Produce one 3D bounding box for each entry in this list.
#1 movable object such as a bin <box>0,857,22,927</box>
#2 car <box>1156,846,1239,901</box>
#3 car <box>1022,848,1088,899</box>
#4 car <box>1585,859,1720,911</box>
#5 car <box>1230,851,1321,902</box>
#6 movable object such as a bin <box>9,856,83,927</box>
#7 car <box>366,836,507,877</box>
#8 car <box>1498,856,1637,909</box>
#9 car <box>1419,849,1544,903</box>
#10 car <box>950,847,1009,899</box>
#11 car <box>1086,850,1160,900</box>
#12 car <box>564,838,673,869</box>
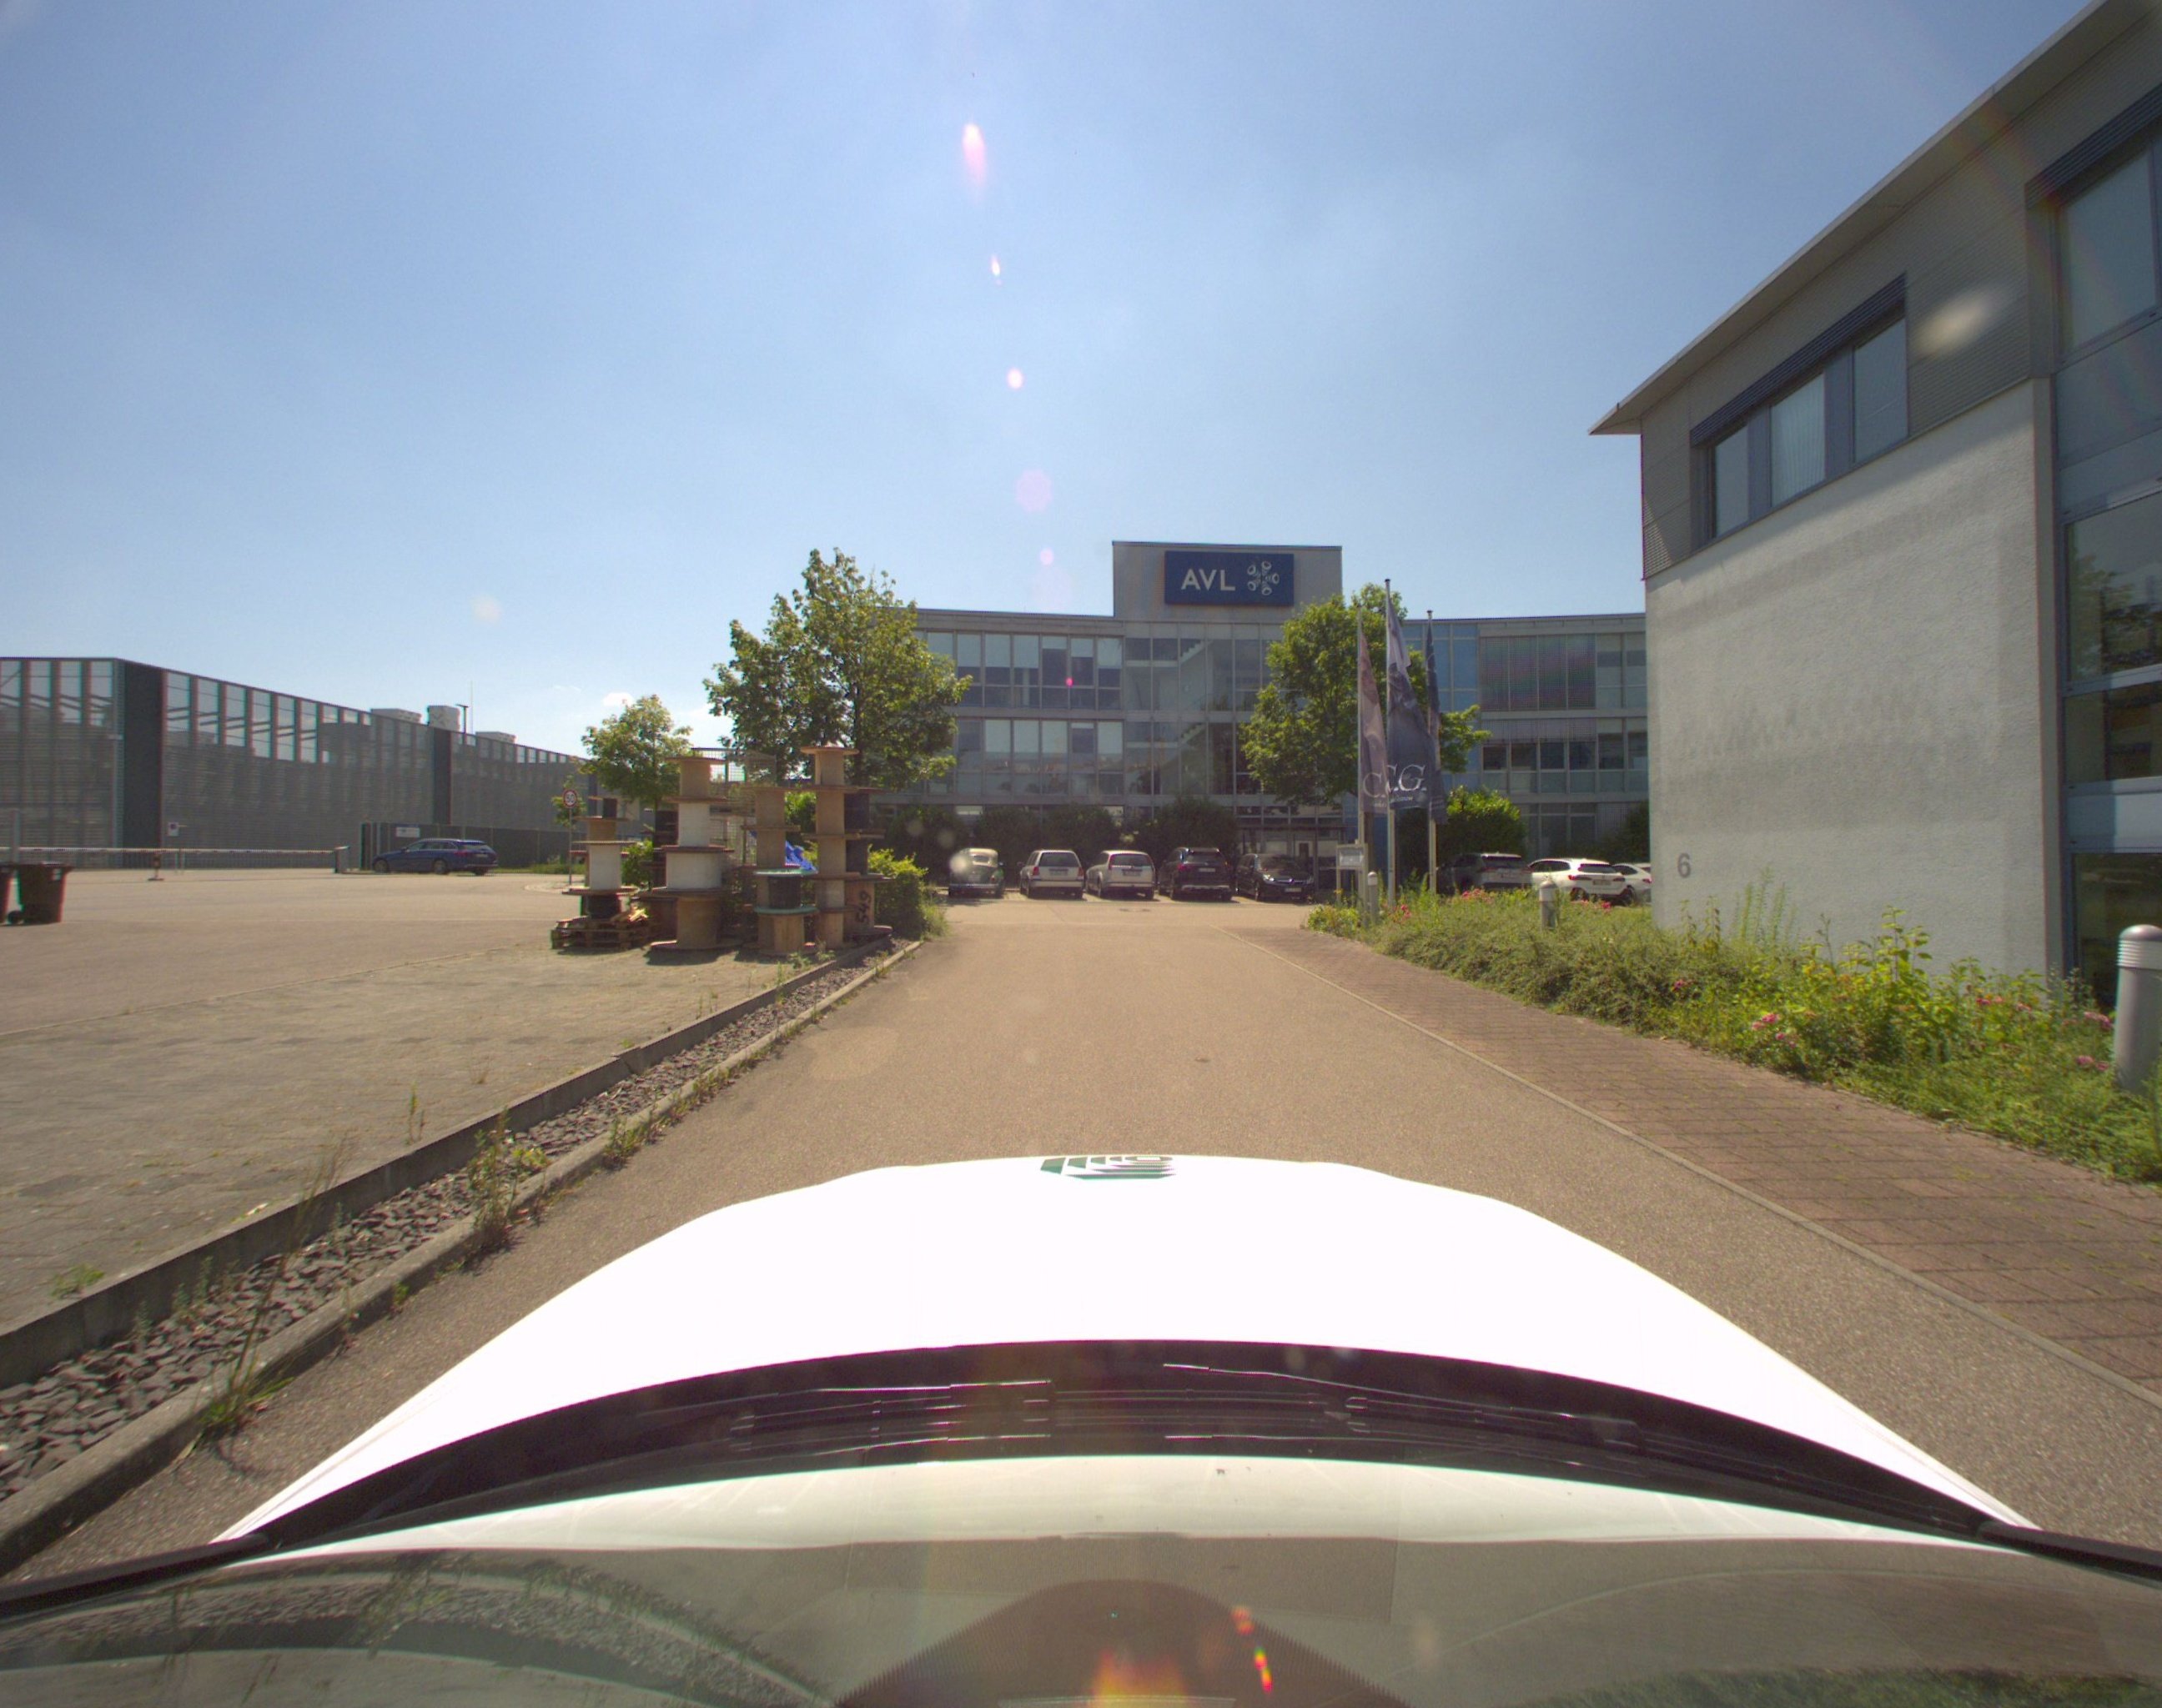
[{"bbox_3d":[-16.110,0.559,11.954,0.584,1.027,0.421,1,0,-35],"label":"movable object such as a bin"},{"bbox_3d":[3.690,0.574,26.400,1.922,1.610,3.982,1,1,-3],"label":"car"},{"bbox_3d":[-0.902,0.567,25.693,1.730,1.449,3.645,1,1,-7],"label":"car"},{"bbox_3d":[18.387,0.933,26.473,1.727,1.429,4.348,1,1,7],"label":"car"},{"bbox_3d":[6.224,0.657,26.520,1.766,1.482,4.254,0,1,-3],"label":"car"},{"bbox_3d":[-15.617,0.549,12.296,0.581,1.036,0.421,1,0,-35],"label":"movable object such as a bin"},{"bbox_3d":[-25.846,0.085,32.695,4.470,1.491,2.007,1,1,12],"label":"car"},{"bbox_3d":[15.589,0.849,26.406,1.732,1.491,4.335,1,1,-3],"label":"car"},{"bbox_3d":[13.004,0.647,26.757,1.815,1.619,4.335,0,1,-3],"label":"car"},{"bbox_3d":[-3.095,0.535,25.322,1.538,1.449,3.649,1,1,-3],"label":"car"},{"bbox_3d":[1.272,0.619,26.429,1.764,1.449,3.645,1,1,-7],"label":"car"},{"bbox_3d":[-24.028,-0.026,42.364,4.806,1.491,2.007,1,1,12],"label":"car"}]
